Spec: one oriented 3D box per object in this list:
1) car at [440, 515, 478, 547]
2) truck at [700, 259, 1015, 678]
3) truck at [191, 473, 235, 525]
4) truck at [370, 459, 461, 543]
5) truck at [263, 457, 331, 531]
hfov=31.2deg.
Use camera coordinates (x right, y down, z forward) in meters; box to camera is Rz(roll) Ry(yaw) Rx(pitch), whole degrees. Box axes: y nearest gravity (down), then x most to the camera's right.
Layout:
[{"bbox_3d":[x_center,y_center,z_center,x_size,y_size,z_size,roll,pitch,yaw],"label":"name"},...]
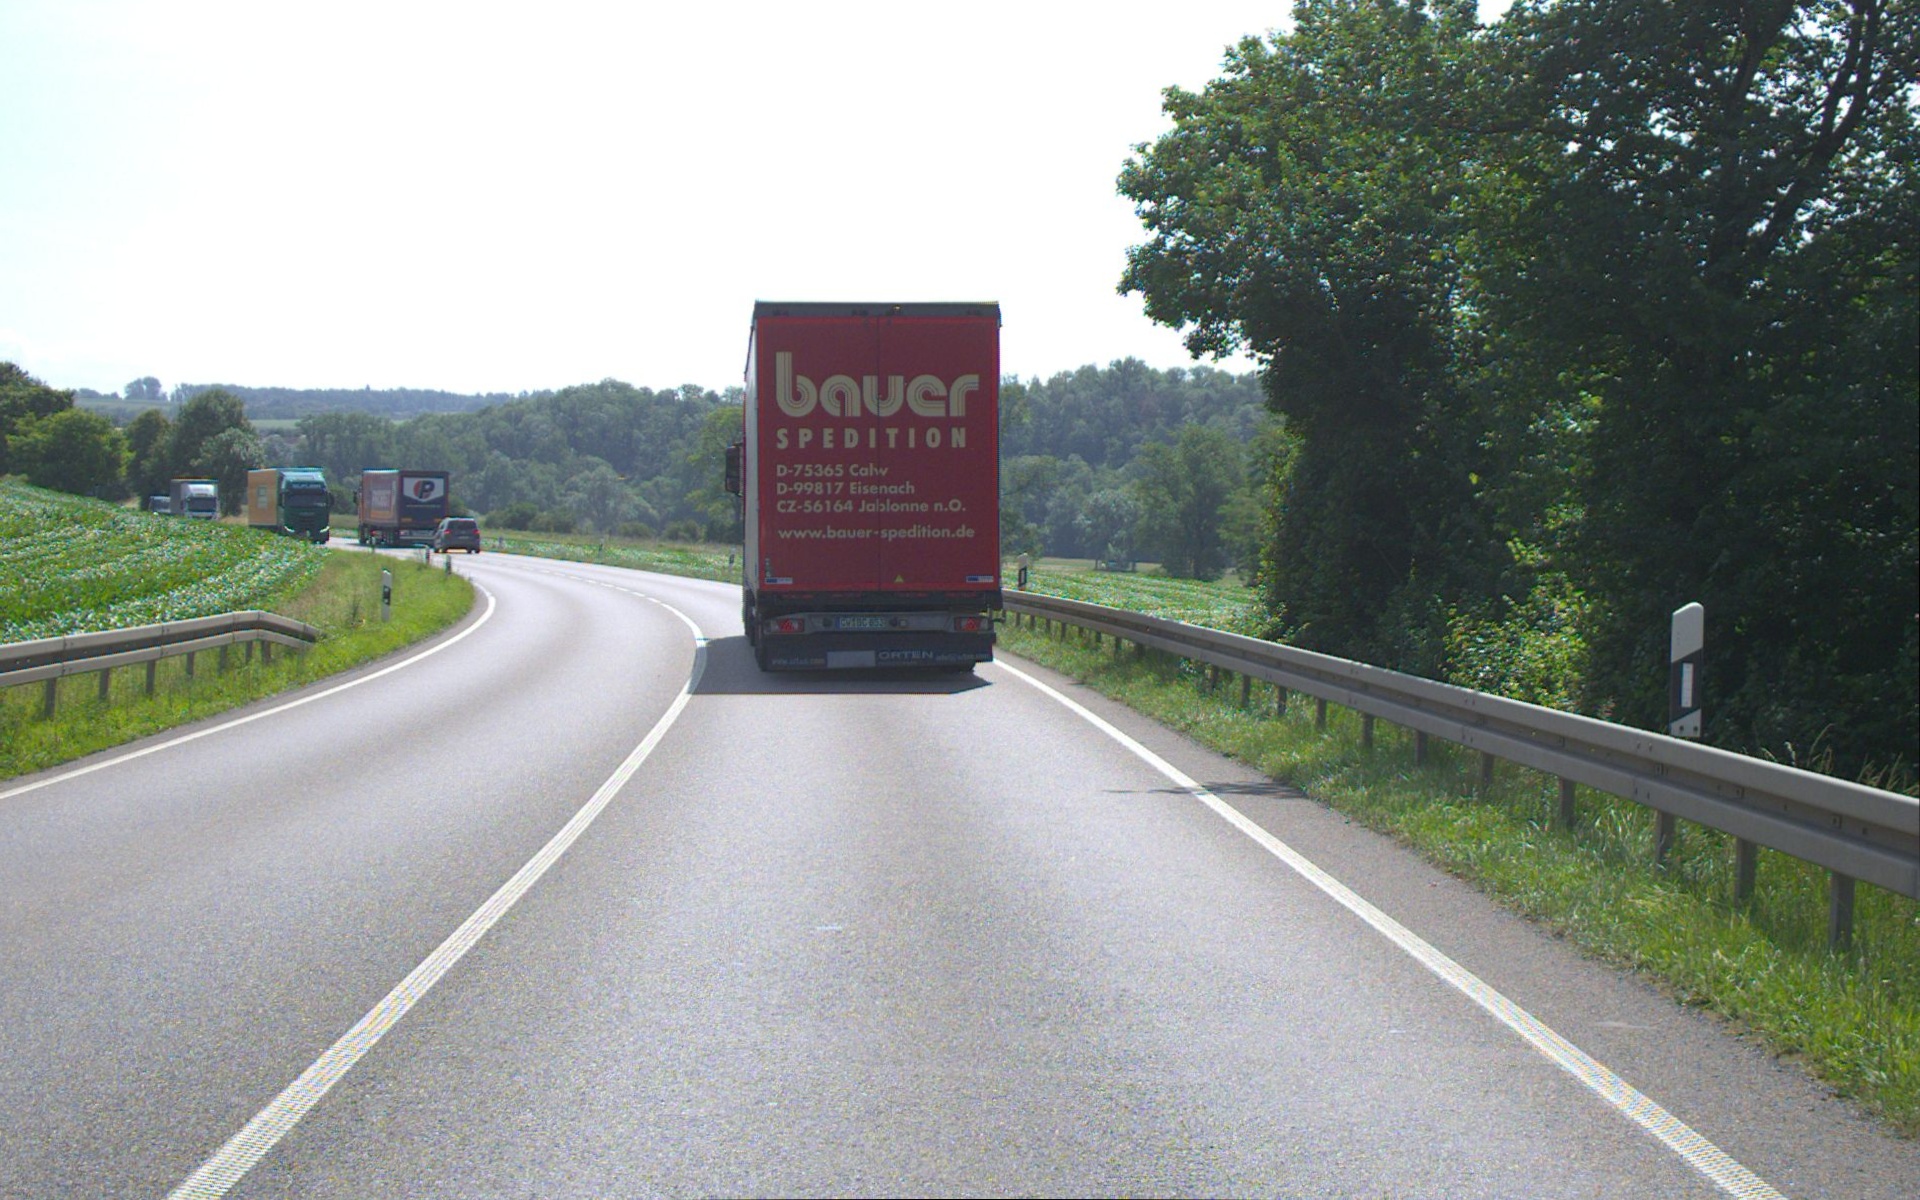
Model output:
[{"bbox_3d":[-23.627,-3.270,162.349,1.581,1.496,3.877,0,1,-6],"label":"car"},{"bbox_3d":[-0.977,-1.414,39.191,3.094,4.248,8.314,0,1,2],"label":"truck"},{"bbox_3d":[-53.275,-7.182,245.016,2.740,3.566,9.730,1,1,-14],"label":"truck"},{"bbox_3d":[-29.016,-5.182,182.803,3.639,4.277,11.989,0,1,-14],"label":"truck"},{"bbox_3d":[-37.805,-6.012,195.546,2.770,3.984,17.034,1,1,-14],"label":"truck"}]
